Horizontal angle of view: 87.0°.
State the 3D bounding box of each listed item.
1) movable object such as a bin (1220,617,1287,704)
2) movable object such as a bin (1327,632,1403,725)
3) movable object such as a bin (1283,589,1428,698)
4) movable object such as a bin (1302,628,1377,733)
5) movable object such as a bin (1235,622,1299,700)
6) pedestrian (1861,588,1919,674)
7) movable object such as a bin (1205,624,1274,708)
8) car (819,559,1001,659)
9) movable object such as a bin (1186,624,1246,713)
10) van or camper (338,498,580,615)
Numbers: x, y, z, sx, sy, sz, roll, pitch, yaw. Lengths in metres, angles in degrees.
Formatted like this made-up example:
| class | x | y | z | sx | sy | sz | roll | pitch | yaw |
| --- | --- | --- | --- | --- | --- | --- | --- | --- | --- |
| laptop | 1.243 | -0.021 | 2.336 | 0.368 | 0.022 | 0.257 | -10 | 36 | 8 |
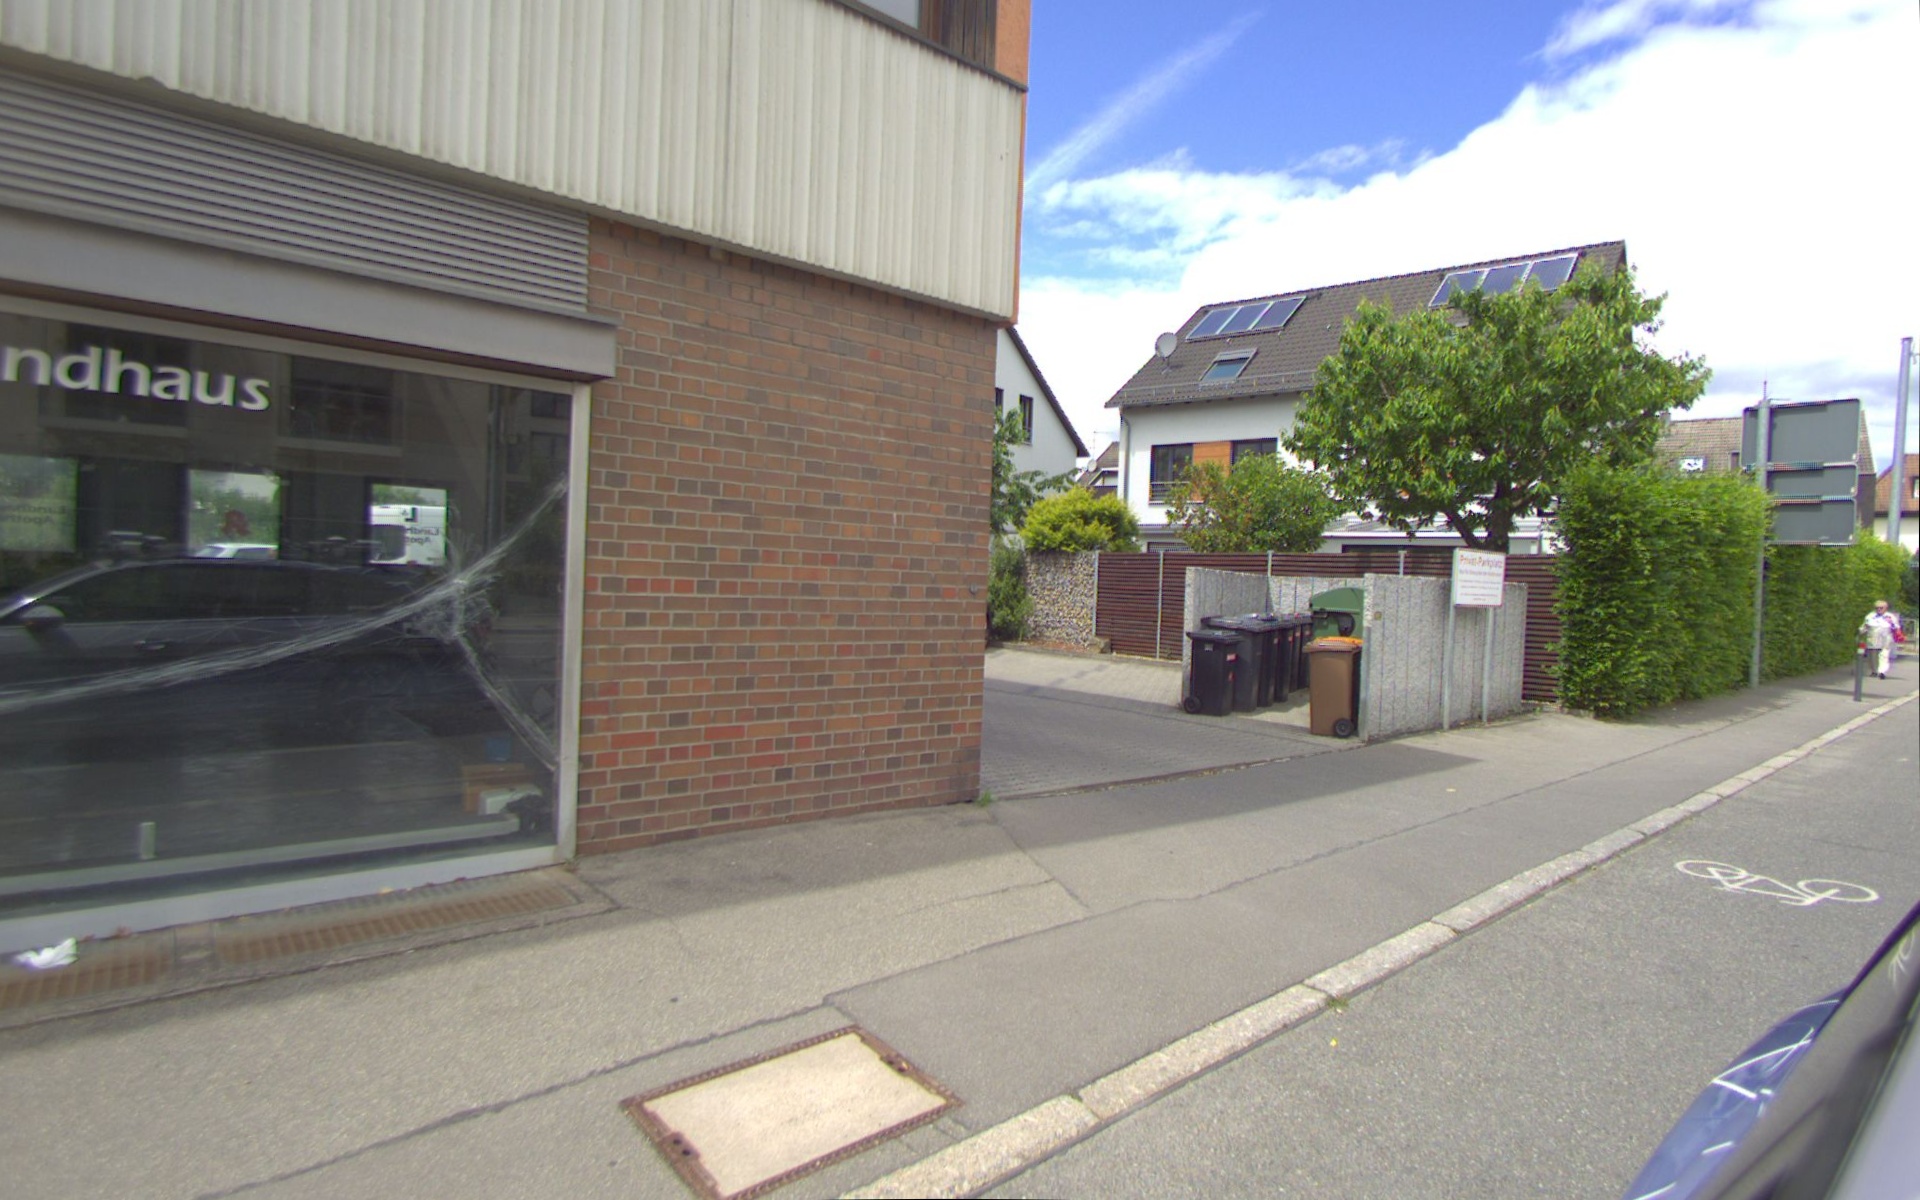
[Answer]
| class | x | y | z | sx | sy | sz | roll | pitch | yaw |
| --- | --- | --- | --- | --- | --- | --- | --- | --- | --- |
| movable object such as a bin | 3.509 | 0.702 | 12.092 | 0.624 | 0.979 | 0.534 | 1 | 1 | 33 |
| movable object such as a bin | 4.273 | 0.809 | 10.673 | 0.532 | 0.904 | 0.668 | 1 | 1 | 43 |
| movable object such as a bin | 5.086 | 0.516 | 13.011 | 1.509 | 1.278 | 1.190 | 0 | 1 | -43 |
| movable object such as a bin | 3.786 | 0.782 | 10.095 | 0.530 | 0.963 | 0.678 | 1 | 1 | 36 |
| movable object such as a bin | 3.811 | 0.737 | 12.546 | 0.630 | 0.904 | 0.534 | 1 | 1 | 33 |
| pedestrian | 18.810 | 0.609 | 20.399 | 0.641 | 1.637 | 0.801 | 1 | 3 | -39 |
| movable object such as a bin | 3.216 | 0.742 | 11.629 | 0.630 | 0.904 | 0.534 | 1 | 1 | 33 |
| car | -0.771 | 0.110 | 18.165 | 1.768 | 1.555 | 3.767 | 2 | 1 | 23 |
| movable object such as a bin | 2.839 | 0.744 | 11.216 | 0.490 | 0.924 | 0.534 | 1 | 1 | 33 |
| van or camper | -12.271 | -1.037 | 25.289 | 2.034 | 2.574 | 5.473 | 2 | 1 | 21 |
